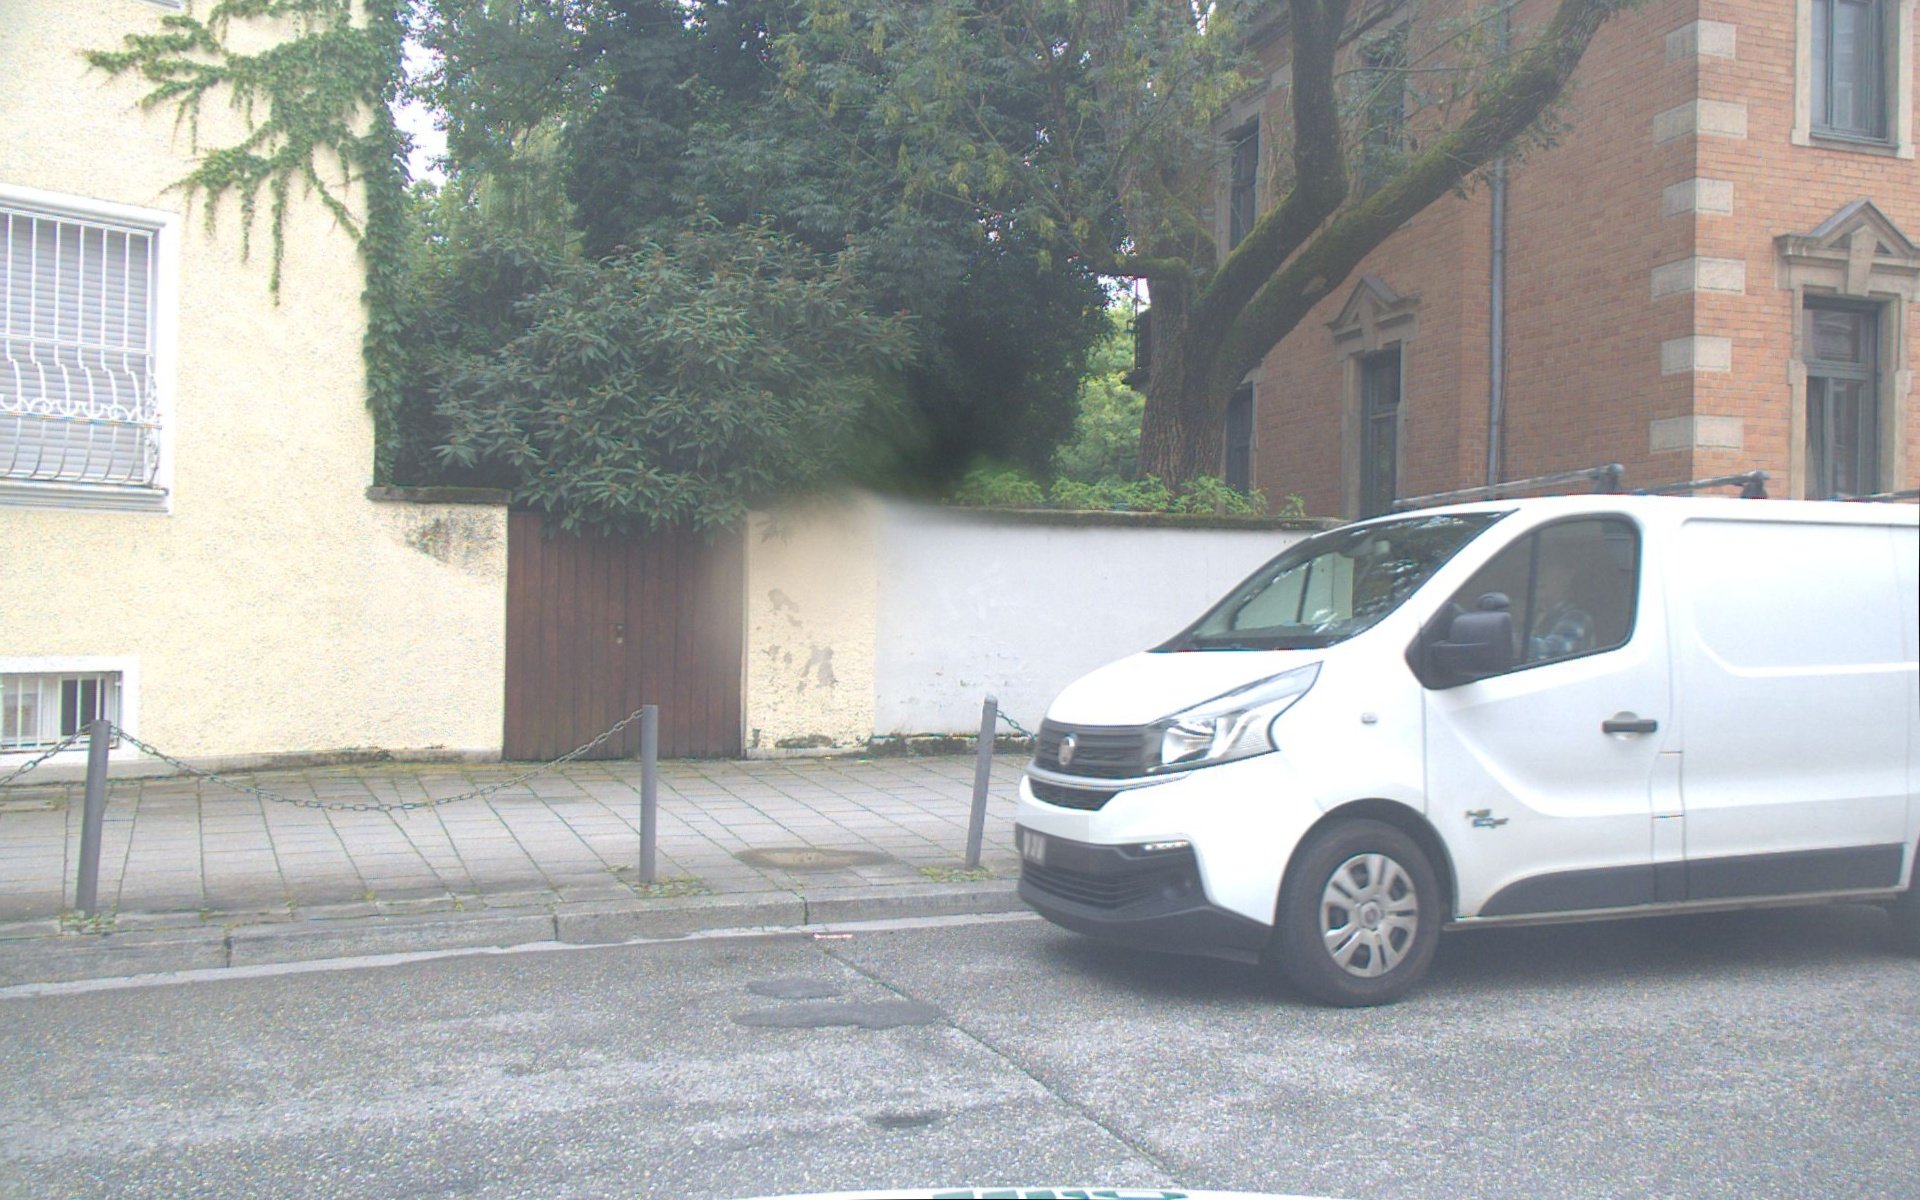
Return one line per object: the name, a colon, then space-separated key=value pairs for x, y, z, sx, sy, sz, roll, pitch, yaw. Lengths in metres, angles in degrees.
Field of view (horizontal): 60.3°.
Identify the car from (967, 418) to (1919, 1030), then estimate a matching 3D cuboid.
car: x=2.647 y=0.461 z=7.415 sx=4.868 sy=2.077 sz=2.035 roll=0 pitch=-2 yaw=-20
